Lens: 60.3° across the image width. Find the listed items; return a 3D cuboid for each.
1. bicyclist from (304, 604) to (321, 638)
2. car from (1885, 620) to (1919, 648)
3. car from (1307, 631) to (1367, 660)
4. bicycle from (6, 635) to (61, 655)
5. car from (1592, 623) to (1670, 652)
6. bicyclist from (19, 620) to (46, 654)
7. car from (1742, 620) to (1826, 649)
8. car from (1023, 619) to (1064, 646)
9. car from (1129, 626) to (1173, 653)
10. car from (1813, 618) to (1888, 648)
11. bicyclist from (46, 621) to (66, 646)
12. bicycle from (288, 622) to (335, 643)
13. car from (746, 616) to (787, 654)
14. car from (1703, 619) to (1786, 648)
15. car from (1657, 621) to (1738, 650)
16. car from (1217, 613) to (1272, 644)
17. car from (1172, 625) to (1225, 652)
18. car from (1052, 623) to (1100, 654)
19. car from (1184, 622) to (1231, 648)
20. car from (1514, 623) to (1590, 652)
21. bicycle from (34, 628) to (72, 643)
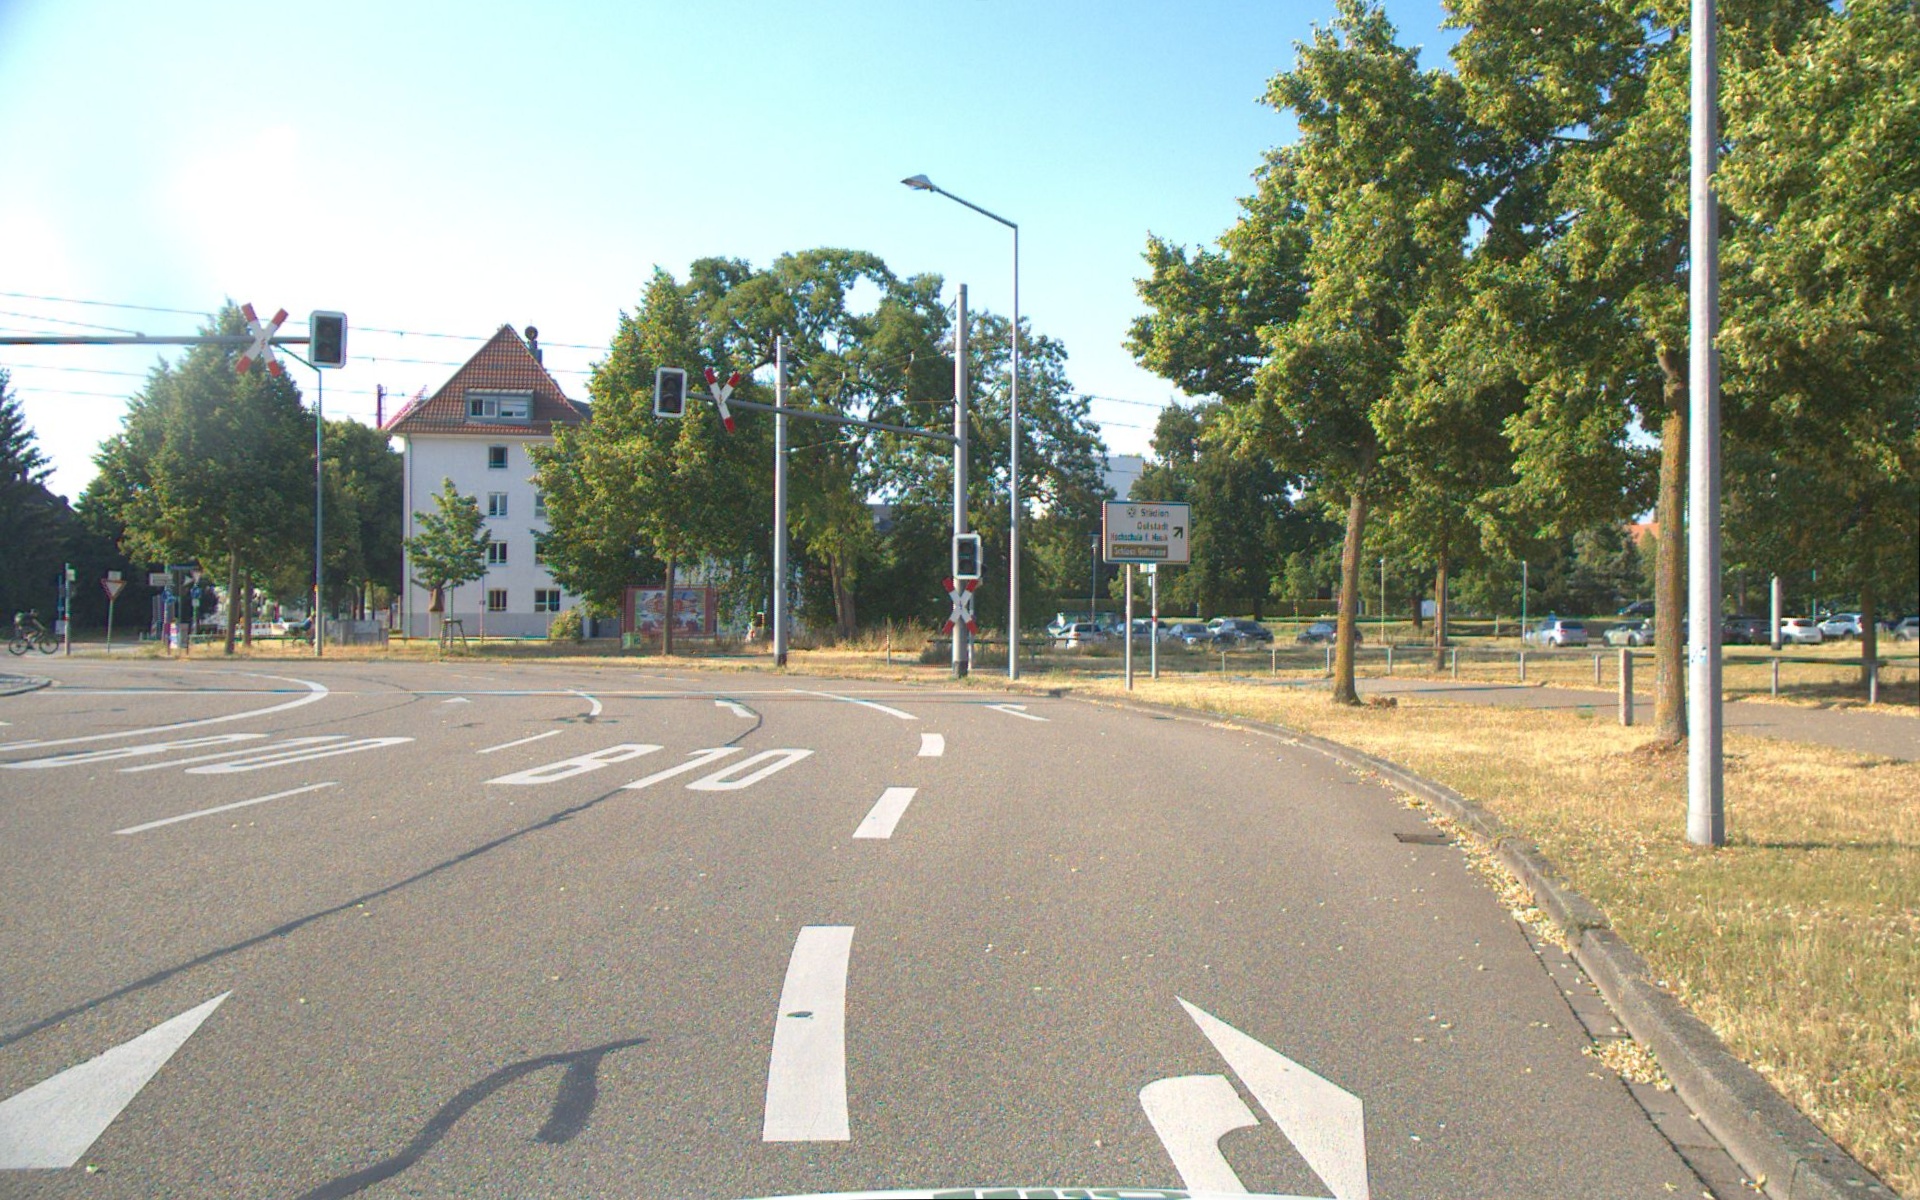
[{"bbox_3d":[-29.472,0.949,75.248,0.618,1.537,0.413,1,-1,-40],"label":"bicyclist"},{"bbox_3d":[50.039,1.763,85.437,1.789,1.427,3.989,0,-1,-11],"label":"car"},{"bbox_3d":[17.957,2.169,78.948,1.570,1.333,3.963,0,-1,-6],"label":"car"},{"bbox_3d":[-38.887,1.882,69.398,1.975,0.839,0.424,0,-1,-41],"label":"bicycle"},{"bbox_3d":[33.644,1.862,83.024,1.789,1.427,3.989,0,-1,-11],"label":"car"},{"bbox_3d":[-38.890,1.541,69.365,0.892,1.421,0.518,1,-1,-40],"label":"bicyclist"},{"bbox_3d":[41.892,1.743,84.219,1.789,1.427,3.989,0,-1,-11],"label":"car"},{"bbox_3d":[4.498,1.778,89.553,1.570,1.426,3.963,0,-1,-6],"label":"car"},{"bbox_3d":[10.362,2.129,89.859,1.570,1.426,3.963,0,-1,-6],"label":"car"},{"bbox_3d":[52.527,1.935,97.650,1.789,1.701,3.989,0,-1,-11],"label":"car"},{"bbox_3d":[-57.061,2.116,104.371,0.646,1.590,0.891,-1,-2,34],"label":"bicyclist"},{"bbox_3d":[-29.480,1.455,75.232,1.975,0.934,0.424,0,-1,-41],"label":"bicycle"},{"bbox_3d":[-8.632,1.570,73.974,1.737,1.646,3.963,0,-1,-6],"label":"car"},{"bbox_3d":[39.552,1.674,83.473,1.789,1.427,3.989,0,-1,-11],"label":"car"},{"bbox_3d":[36.999,1.768,83.056,1.789,1.427,3.989,0,-1,-11],"label":"car"},{"bbox_3d":[13.457,1.349,78.389,1.570,1.426,3.963,0,-1,-6],"label":"car"},{"bbox_3d":[11.253,1.821,78.268,1.570,1.242,3.963,0,-1,-6],"label":"car"},{"bbox_3d":[5.402,1.782,77.317,1.570,1.426,3.963,0,-1,-6],"label":"car"},{"bbox_3d":[13.471,1.902,90.216,1.570,1.426,3.963,0,-1,-6],"label":"car"},{"bbox_3d":[29.262,1.843,81.888,1.789,1.427,3.989,0,-1,-11],"label":"car"},{"bbox_3d":[-57.155,2.226,104.215,0.586,0.980,2.100,-1,-1,32],"label":"bicycle"}]
